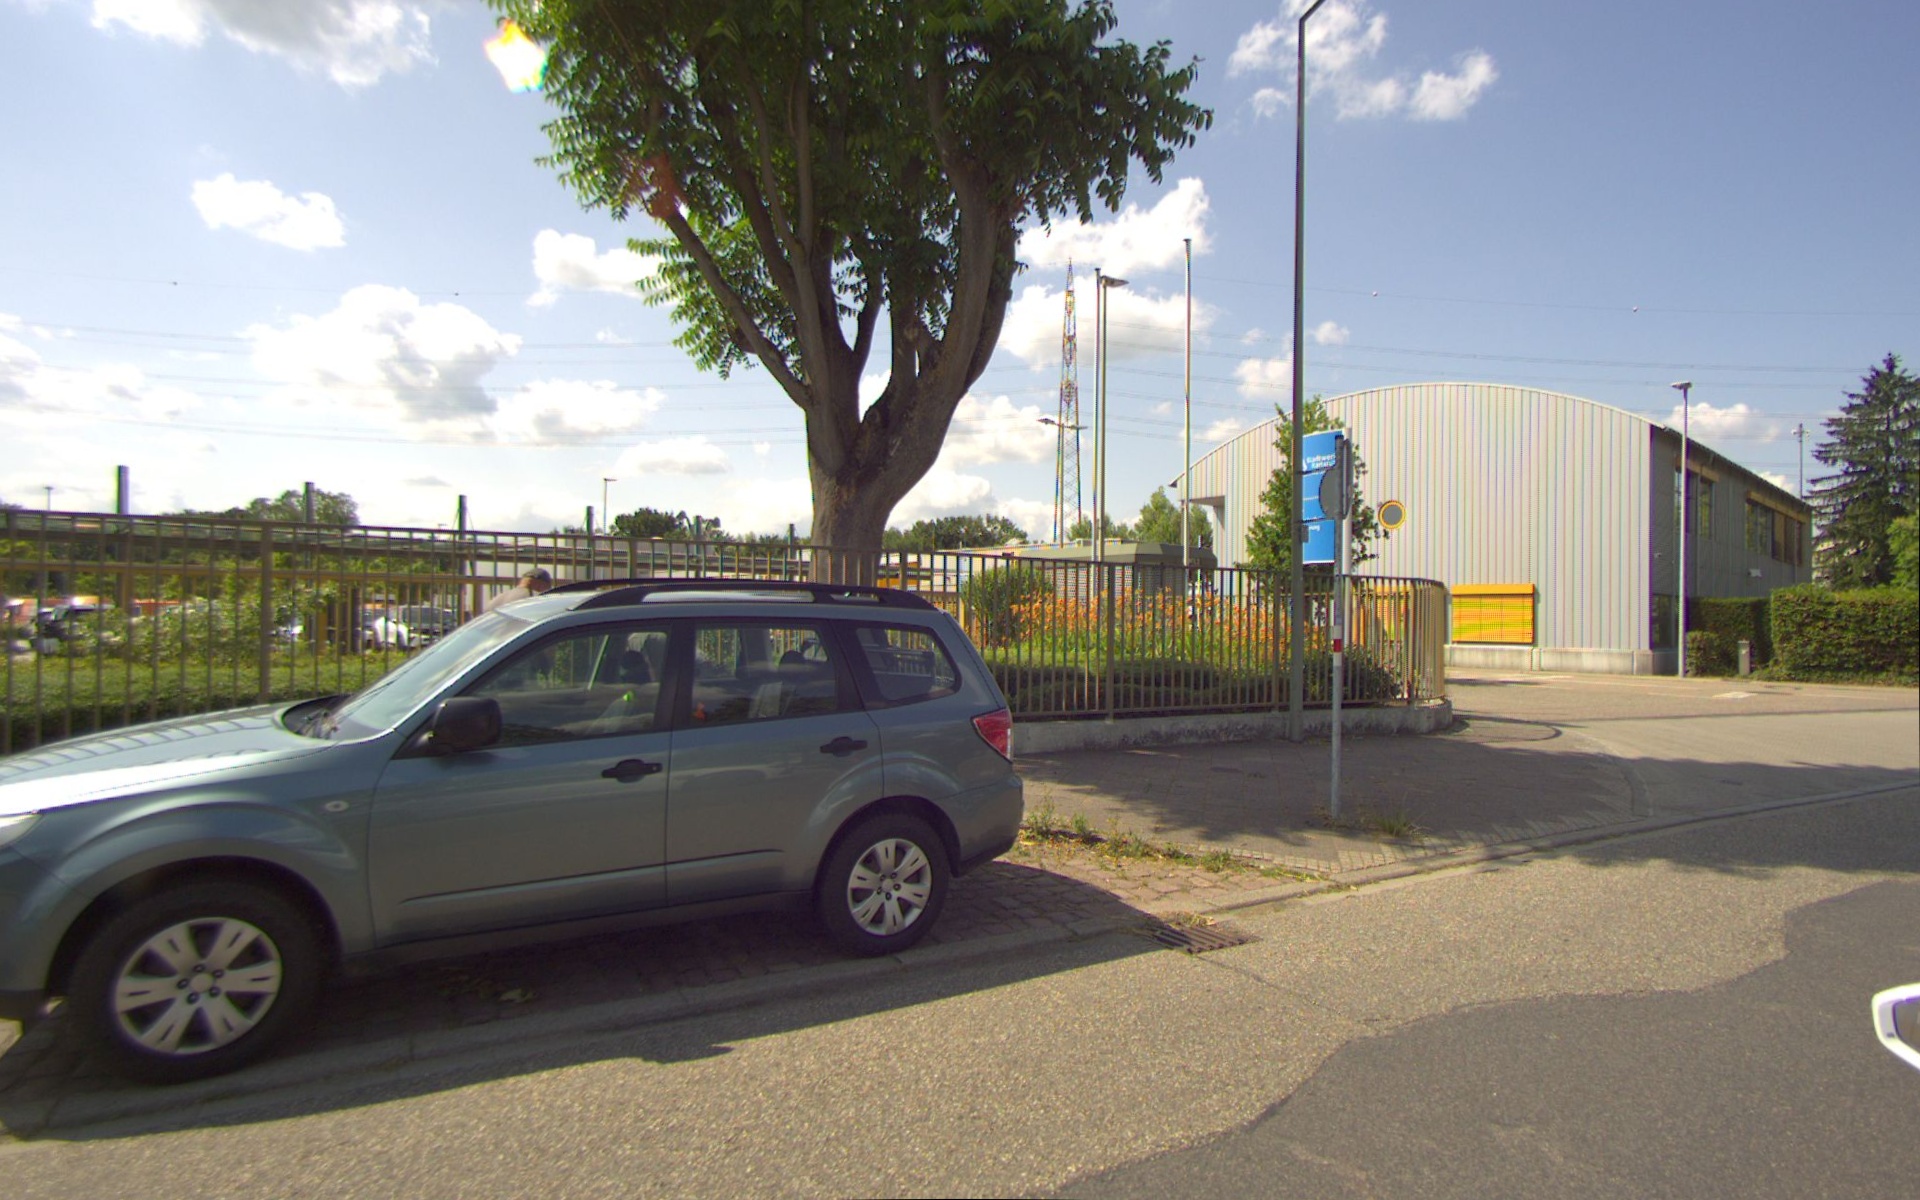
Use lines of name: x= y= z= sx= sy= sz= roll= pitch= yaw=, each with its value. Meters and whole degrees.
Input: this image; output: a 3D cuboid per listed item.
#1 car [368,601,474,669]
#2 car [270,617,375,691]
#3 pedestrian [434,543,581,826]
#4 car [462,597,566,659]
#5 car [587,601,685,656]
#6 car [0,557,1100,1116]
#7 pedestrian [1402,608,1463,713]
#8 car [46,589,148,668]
car: x=-15.569 y=0.956 z=28.932 sx=1.747 sy=1.749 sz=4.022 roll=1 pitch=0 yaw=-43
car: x=-17.406 y=1.401 z=27.352 sx=1.735 sy=1.711 sz=3.949 roll=1 pitch=0 yaw=-43
pedestrian: x=-3.090 y=0.539 z=6.887 sx=0.834 sy=1.785 sz=0.826 roll=1 pitch=1 yaw=-25
car: x=-13.736 y=0.809 z=30.821 sx=1.735 sy=1.711 sz=3.949 roll=1 pitch=0 yaw=-43
car: x=-11.227 y=0.934 z=34.689 sx=1.735 sy=1.711 sz=3.949 roll=1 pitch=0 yaw=-43
car: x=-1.723 y=0.743 z=4.754 sx=4.637 sy=1.673 sz=1.789 roll=2 pitch=0 yaw=-32
pedestrian: x=7.911 y=1.011 z=16.821 sx=0.723 sy=1.714 sz=0.546 roll=3 pitch=-2 yaw=-23
car: x=-20.896 y=0.633 z=24.274 sx=1.735 sy=1.711 sz=3.949 roll=1 pitch=0 yaw=-43
